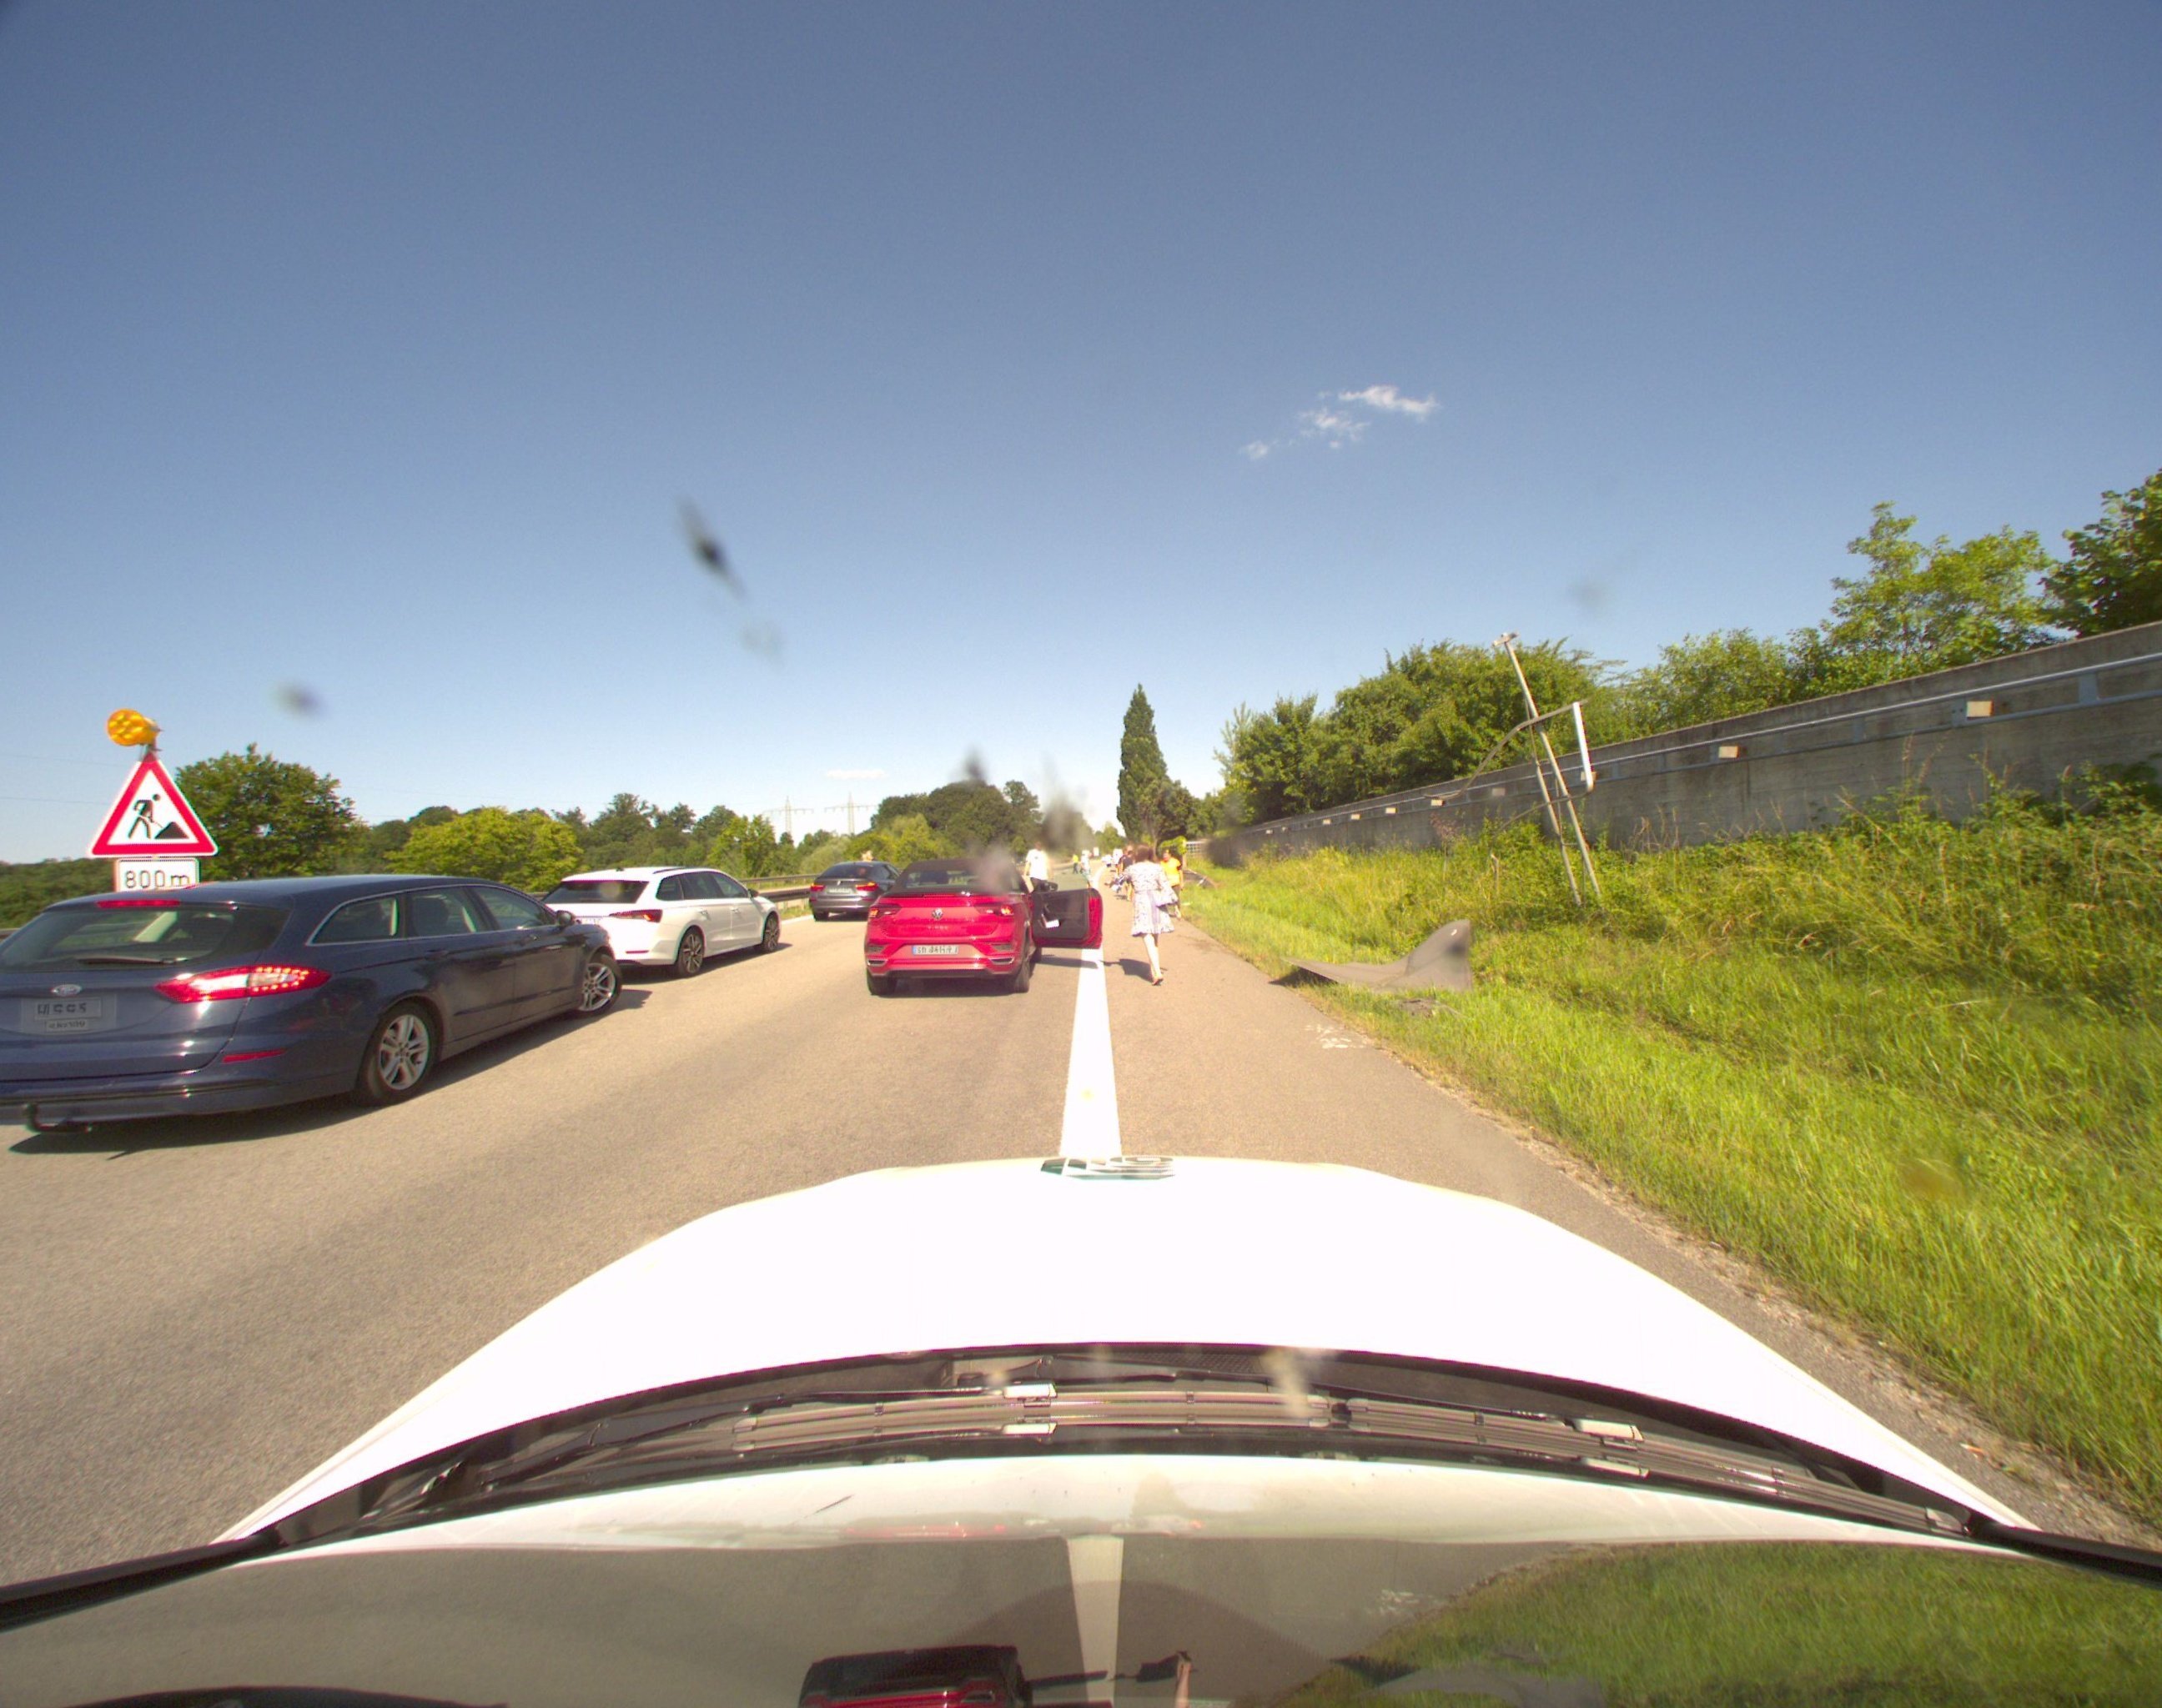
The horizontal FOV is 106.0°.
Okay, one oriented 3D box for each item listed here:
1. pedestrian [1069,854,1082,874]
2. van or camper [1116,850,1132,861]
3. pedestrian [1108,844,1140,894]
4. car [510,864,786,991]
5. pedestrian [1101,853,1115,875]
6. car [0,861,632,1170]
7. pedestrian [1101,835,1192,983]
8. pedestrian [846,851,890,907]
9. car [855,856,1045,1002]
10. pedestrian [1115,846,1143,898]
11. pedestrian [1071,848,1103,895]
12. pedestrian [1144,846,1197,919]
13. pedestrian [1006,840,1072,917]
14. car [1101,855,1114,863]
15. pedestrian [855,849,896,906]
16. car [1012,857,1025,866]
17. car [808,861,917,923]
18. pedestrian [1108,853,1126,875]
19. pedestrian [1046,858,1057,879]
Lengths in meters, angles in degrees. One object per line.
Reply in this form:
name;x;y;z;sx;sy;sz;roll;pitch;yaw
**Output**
pedestrian;-0.449;0.878;69.617;1.009;1.689;1.061;-1;-1;6
van or camper;8.608;0.319;162.629;1.977;2.316;4.491;-1;-1;18
pedestrian;1.566;0.544;29.704;0.818;1.759;0.819;-1;-1;44
car;-5.913;0.893;11.791;1.689;1.441;4.210;-1;0;0
pedestrian;2.087;0.753;63.011;1.110;1.689;0.973;-1;-1;0
car;-5.399;0.837;6.345;1.787;1.493;4.480;-2;0;-8
pedestrian;0.780;0.643;10.080;0.888;1.695;1.126;-2;0;-5
pedestrian;-7.021;0.815;26.880;1.111;1.763;1.044;-2;0;-1
car;-1.462;0.786;10.589;1.726;1.487;4.210;-1;0;0
pedestrian;1.610;0.613;27.559;0.892;1.725;0.754;-1;-1;-1
pedestrian;0.242;0.676;31.452;1.082;1.789;1.110;-1;-1;7
pedestrian;2.153;0.661;19.528;0.950;1.653;1.284;-2;0;18
pedestrian;-1.071;0.626;21.054;1.241;1.912;1.116;-2;0;27
car;5.477;1.042;169.326;1.719;1.487;4.229;-1;0;17
pedestrian;-7.035;0.788;27.892;1.062;1.883;1.093;-2;0;0
car;-11.013;1.341;143.771;1.687;1.426;4.308;-1;0;3
car;-5.645;0.915;21.586;1.689;1.426;4.334;-1;0;0
pedestrian;2.778;0.764;62.739;1.011;1.689;0.992;0;-1;-23
pedestrian;-2.465;1.179;67.087;0.788;1.689;0.793;-1;-1;5
